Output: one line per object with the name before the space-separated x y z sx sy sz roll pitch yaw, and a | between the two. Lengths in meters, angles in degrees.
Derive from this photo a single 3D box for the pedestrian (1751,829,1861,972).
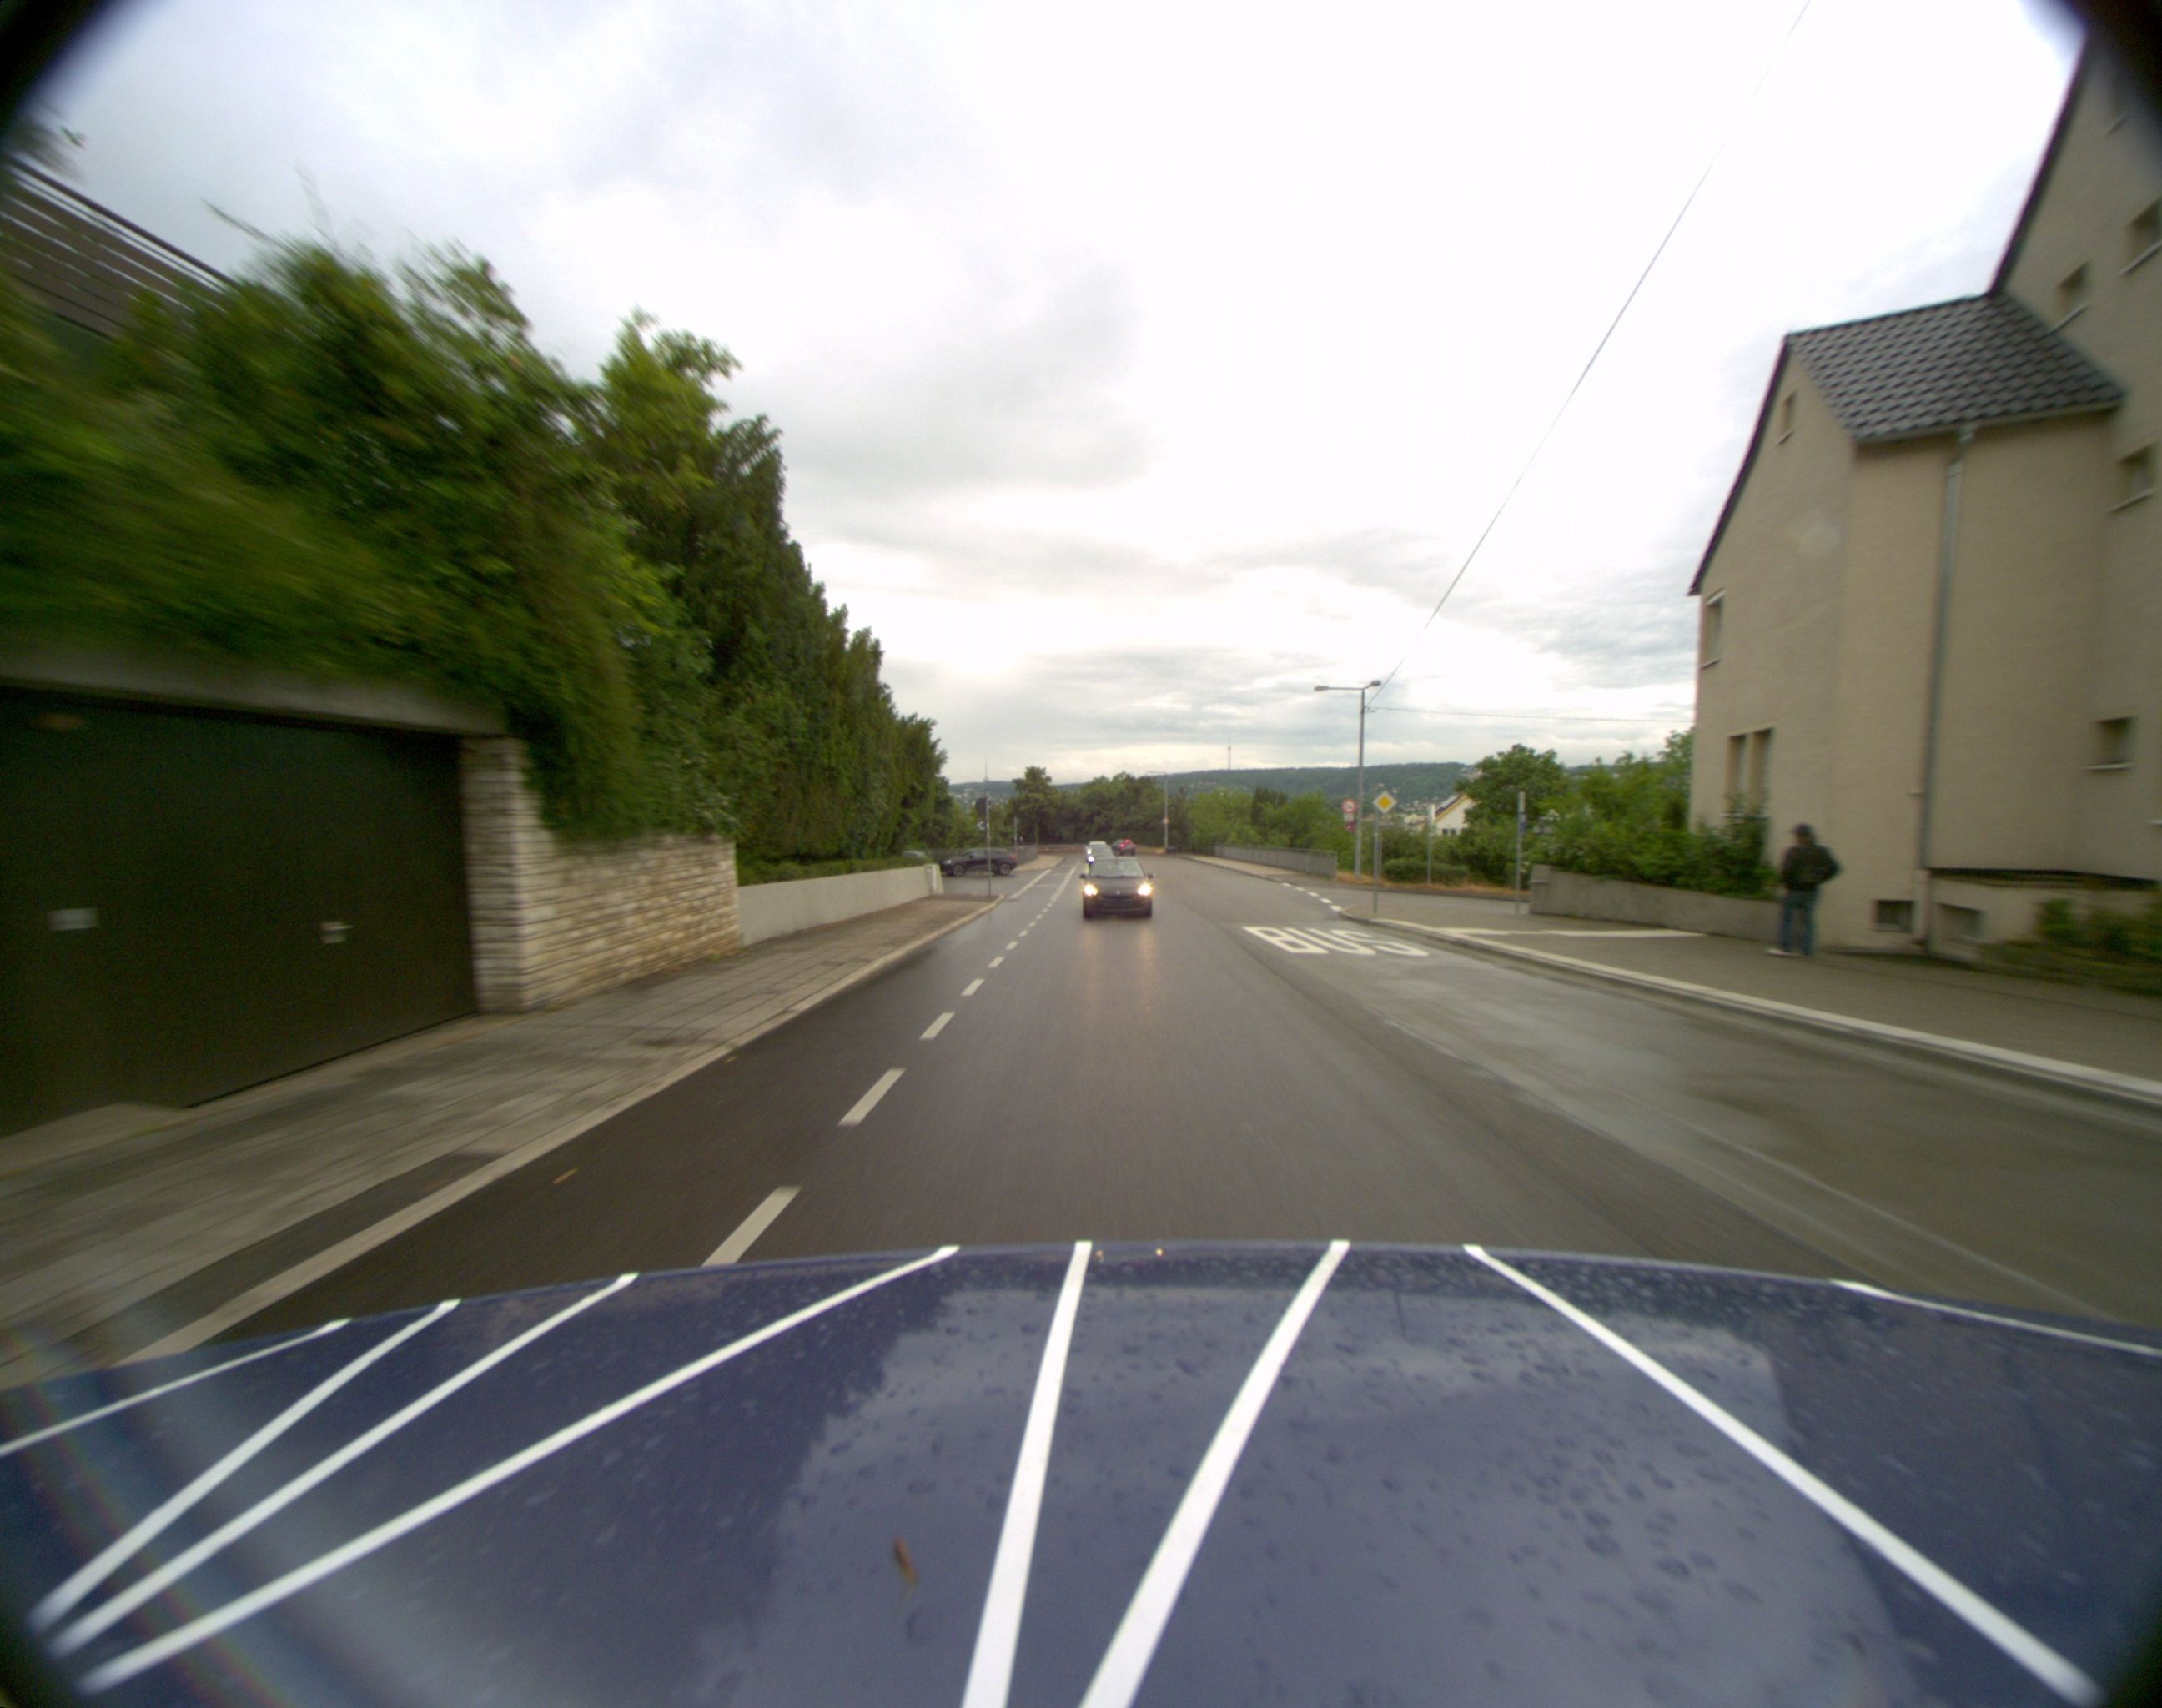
pedestrian | 9.777 0.606 10.278 0.788 1.846 0.728 -2 2 1

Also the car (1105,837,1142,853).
car | 4.272 -0.944 76.958 1.742 1.537 3.989 -1 2 -30

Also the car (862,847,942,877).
car | -9.851 0.413 41.794 4.060 1.417 1.797 -2 3 -21

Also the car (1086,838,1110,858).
car | 1.478 -0.512 63.530 1.888 1.566 4.592 -1 2 2

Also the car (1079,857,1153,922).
car | 0.971 0.836 19.319 1.679 1.405 3.638 -1 1 6

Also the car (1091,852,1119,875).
car | 1.587 0.595 51.702 1.766 1.445 4.399 0 1 1

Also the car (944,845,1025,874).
car | -5.542 0.292 43.551 4.206 1.514 1.996 -2 1 -23
